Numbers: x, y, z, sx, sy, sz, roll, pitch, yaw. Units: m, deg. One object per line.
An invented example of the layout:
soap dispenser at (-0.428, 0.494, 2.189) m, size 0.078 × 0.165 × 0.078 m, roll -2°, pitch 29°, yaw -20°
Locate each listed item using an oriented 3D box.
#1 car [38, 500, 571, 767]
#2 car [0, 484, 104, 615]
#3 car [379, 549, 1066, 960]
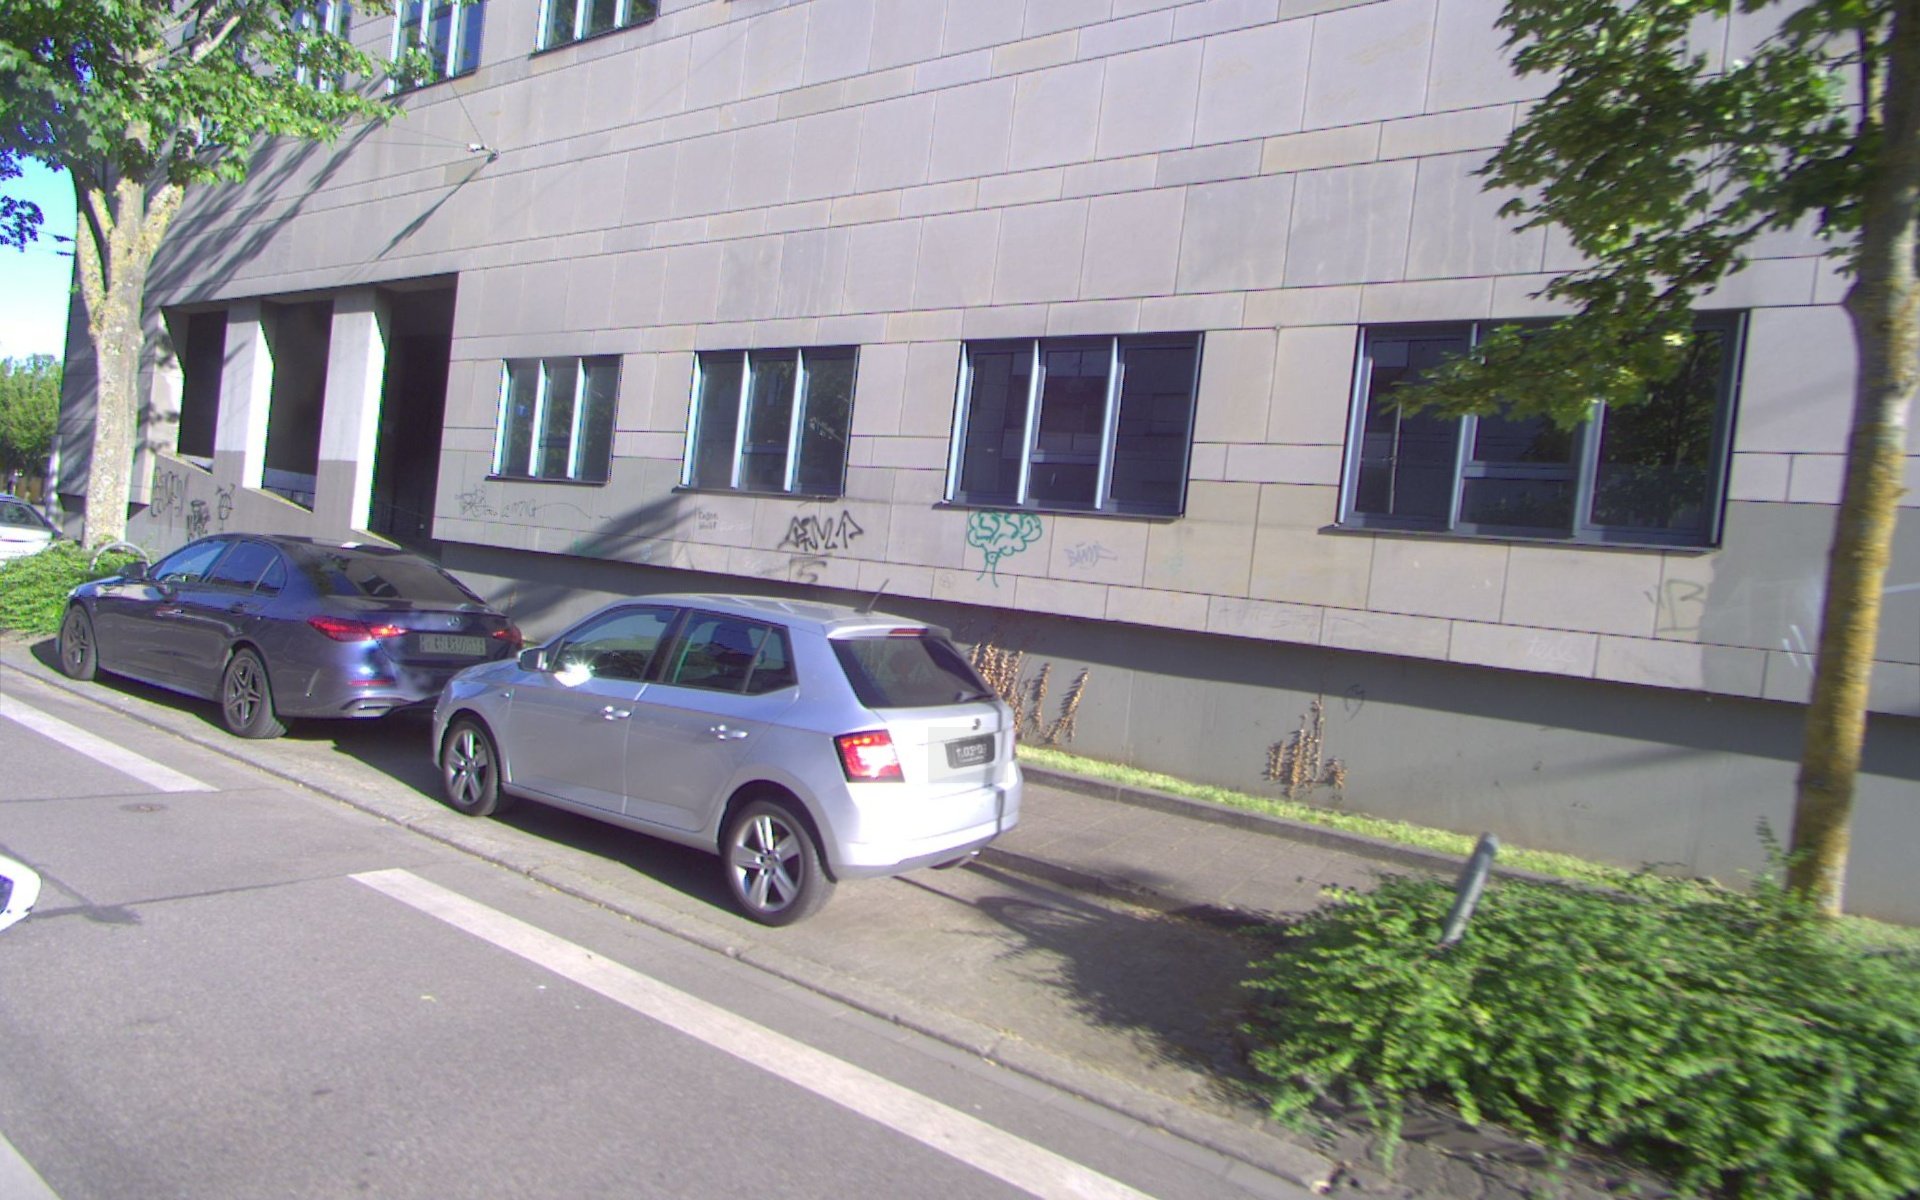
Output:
car at (-5.646, 0.154, 8.517) m, size 4.563 × 1.509 × 1.841 m, roll 7°, pitch 1°, yaw 30°
car at (-12.950, -0.812, 12.838) m, size 4.087 × 1.482 × 1.824 m, roll 7°, pitch 1°, yaw 31°
car at (-1.530, 0.652, 5.991) m, size 3.849 × 1.474 × 1.643 m, roll 7°, pitch 1°, yaw 32°
